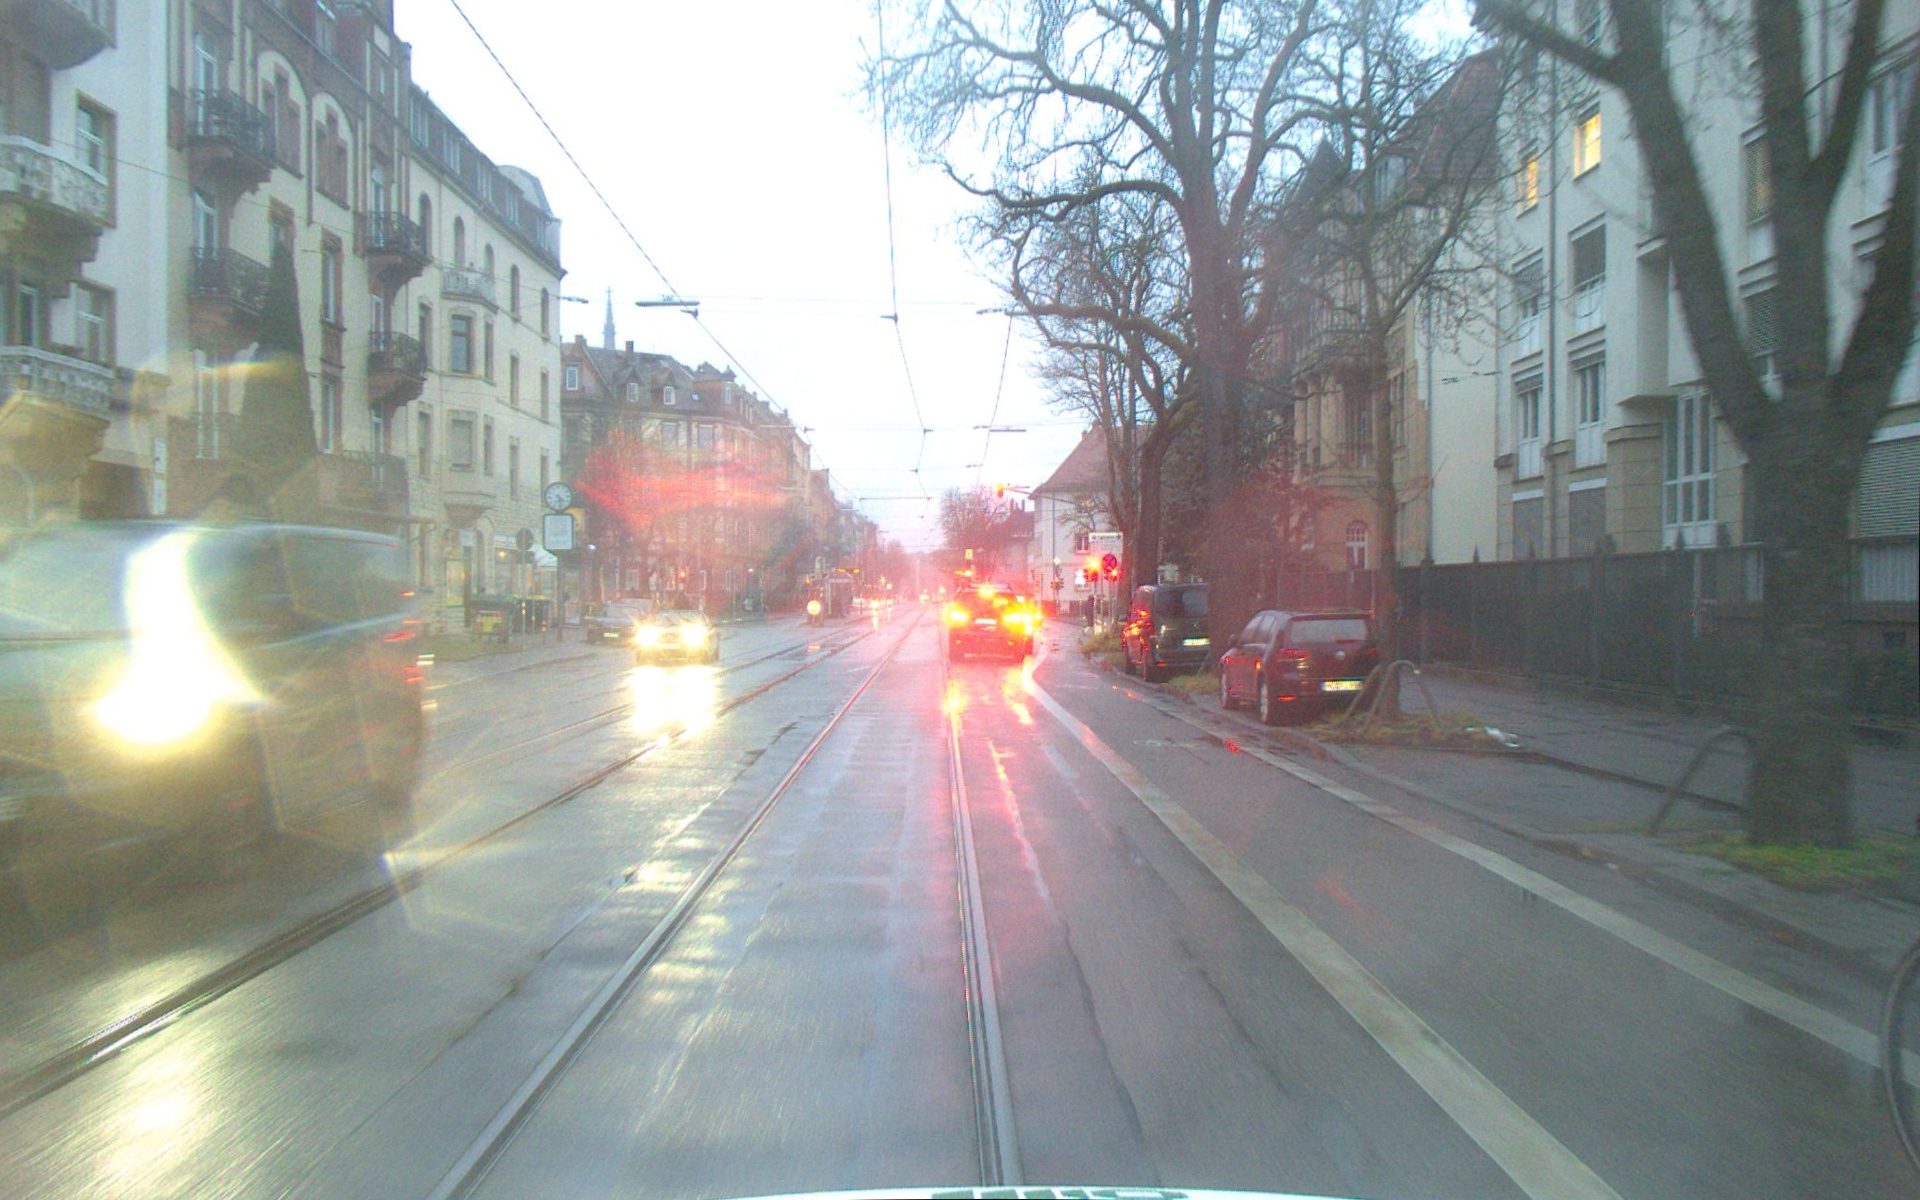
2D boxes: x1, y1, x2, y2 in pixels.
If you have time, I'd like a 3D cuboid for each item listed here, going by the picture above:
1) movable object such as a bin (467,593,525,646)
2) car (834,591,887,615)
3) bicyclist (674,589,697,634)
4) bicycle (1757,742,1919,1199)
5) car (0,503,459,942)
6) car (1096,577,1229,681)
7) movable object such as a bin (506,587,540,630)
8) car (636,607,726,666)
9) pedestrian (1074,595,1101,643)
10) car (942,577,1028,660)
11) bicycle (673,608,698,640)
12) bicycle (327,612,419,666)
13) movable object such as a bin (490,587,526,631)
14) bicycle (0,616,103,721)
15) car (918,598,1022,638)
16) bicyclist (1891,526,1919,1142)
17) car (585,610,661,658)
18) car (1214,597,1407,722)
[{"bbox_3d":[-14.283,0.588,50.967,1.380,1.557,1.364,-1,1,-1],"label":"movable object such as a bin"},{"bbox_3d":[-7.676,0.202,127.915,3.914,1.747,1.899,-1,1,-9],"label":"car"},{"bbox_3d":[-10.066,0.411,60.680,0.702,1.630,0.930,-1,1,-4],"label":"bicyclist"},{"bbox_3d":[2.612,0.986,3.742,0.692,1.116,2.030,-1,1,2],"label":"bicycle"},{"bbox_3d":[-4.687,0.516,9.930,2.005,1.955,5.097,-1,1,-3],"label":"car"},{"bbox_3d":[4.055,0.524,33.948,1.953,1.933,5.025,-1,1,-2],"label":"car"},{"bbox_3d":[-17.001,0.316,64.398,0.993,1.628,1.081,-1,1,1],"label":"movable object such as a bin"},{"bbox_3d":[-6.592,0.840,39.437,1.627,1.219,3.873,-1,1,-2],"label":"car"},{"bbox_3d":[5.519,0.812,71.742,1.002,2.049,0.918,-1,1,-4],"label":"pedestrian"},{"bbox_3d":[0.566,0.463,41.513,1.953,1.930,4.757,1,-1,-2],"label":"car"},{"bbox_3d":[-10.059,0.874,60.702,0.702,1.130,2.063,-1,1,-4],"label":"bicycle"},{"bbox_3d":[-12.651,0.828,35.672,1.771,1.099,0.615,-1,1,-8],"label":"bicycle"},{"bbox_3d":[-16.859,0.334,61.739,0.993,1.628,1.081,-1,1,1],"label":"movable object such as a bin"},{"bbox_3d":[-10.681,0.767,19.220,0.476,1.118,1.930,-1,0,-2],"label":"bicycle"},{"bbox_3d":[0.495,0.840,78.441,4.843,1.747,1.698,-1,1,1],"label":"car"},{"bbox_3d":[2.598,0.561,3.625,0.642,1.471,0.849,-1,1,1],"label":"bicyclist"},{"bbox_3d":[-11.494,1.134,56.663,1.796,1.472,4.000,-1,1,-1],"label":"car"},{"bbox_3d":[4.623,0.731,22.365,1.643,1.485,4.041,-1,0,-2],"label":"car"}]
